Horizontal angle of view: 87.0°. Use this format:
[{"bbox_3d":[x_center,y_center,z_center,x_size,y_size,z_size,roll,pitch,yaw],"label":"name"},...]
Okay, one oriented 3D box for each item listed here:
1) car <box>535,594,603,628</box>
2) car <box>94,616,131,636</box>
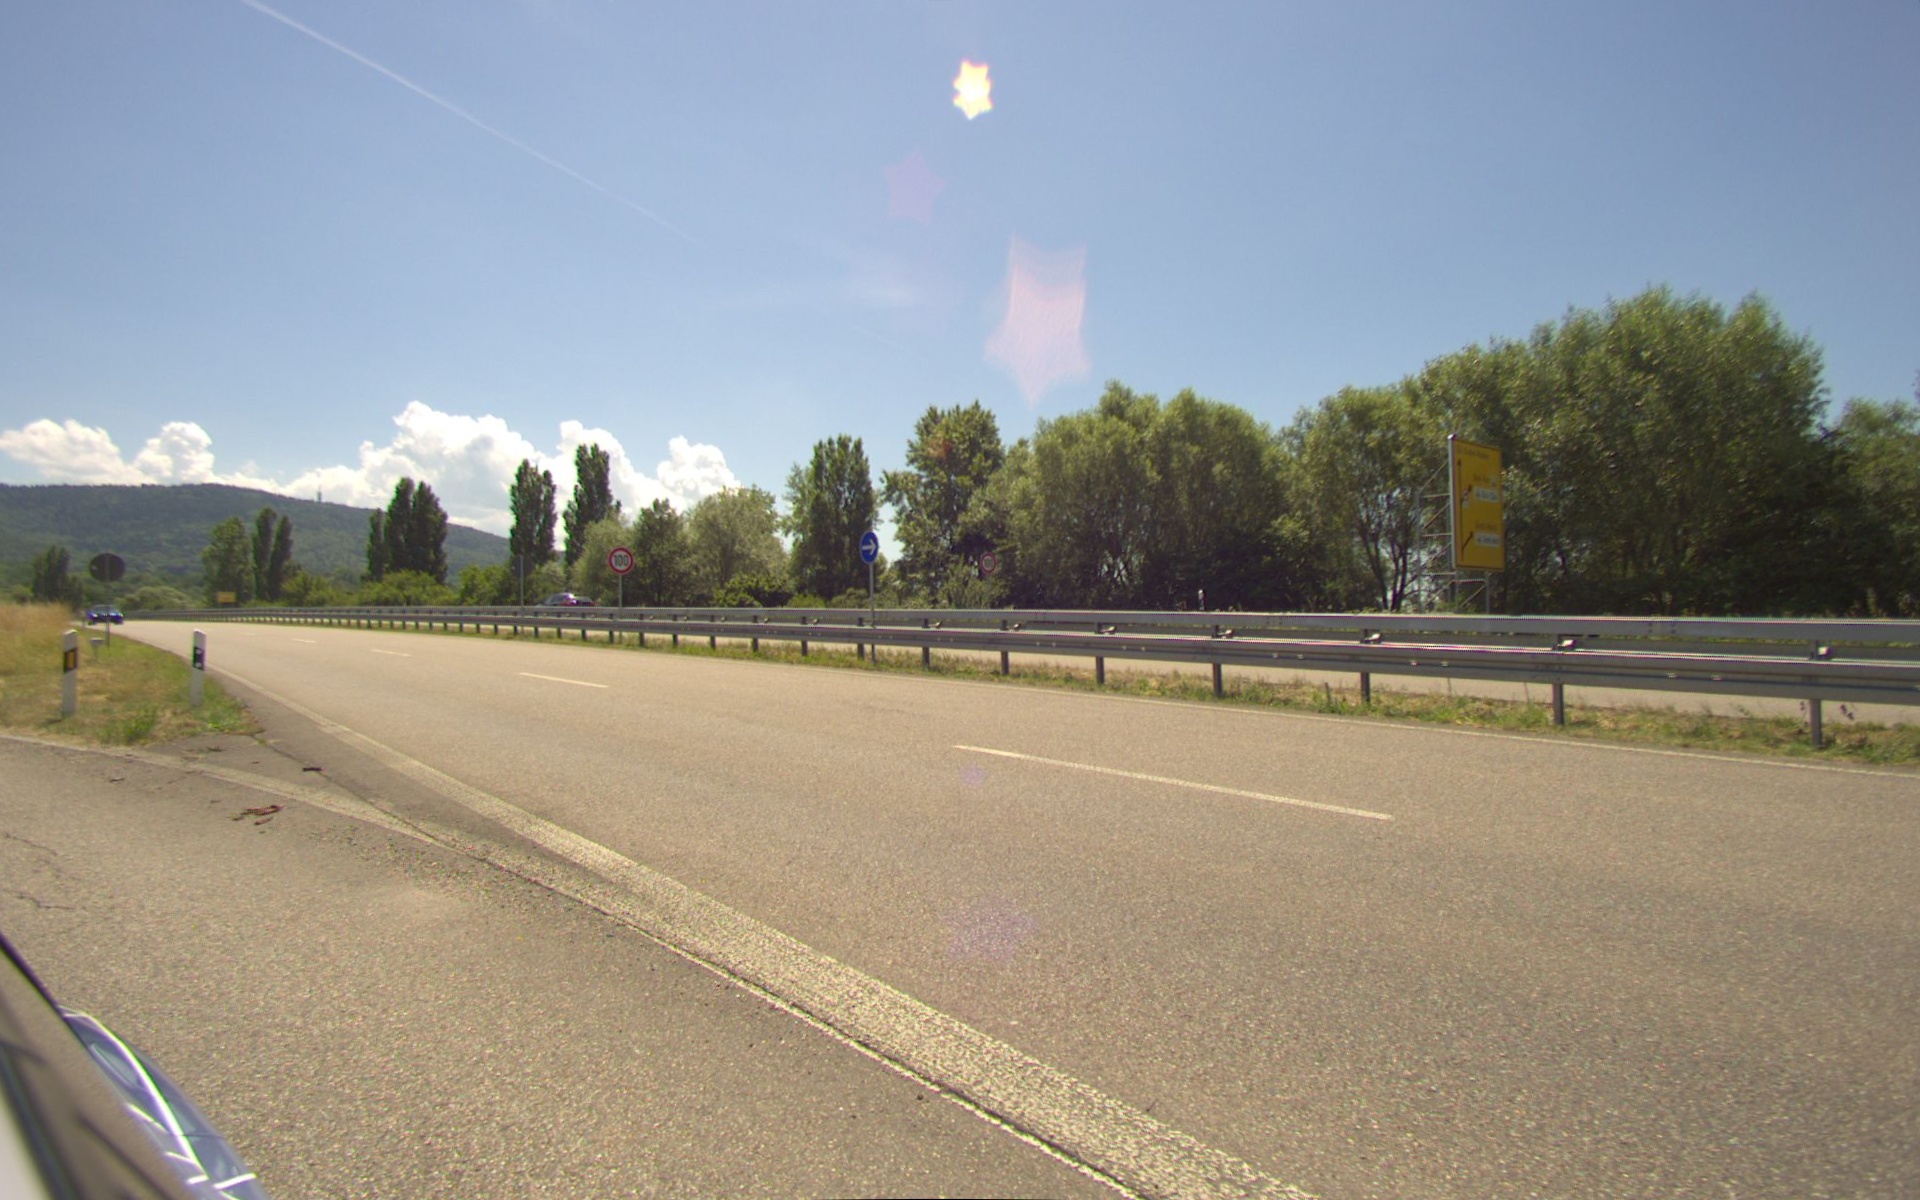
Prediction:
[{"bbox_3d":[-18.721,0.508,48.417,1.760,1.530,3.708,-2,1,-43],"label":"car"},{"bbox_3d":[-65.193,1.997,77.831,1.881,1.386,3.894,-1,0,-43],"label":"car"}]
